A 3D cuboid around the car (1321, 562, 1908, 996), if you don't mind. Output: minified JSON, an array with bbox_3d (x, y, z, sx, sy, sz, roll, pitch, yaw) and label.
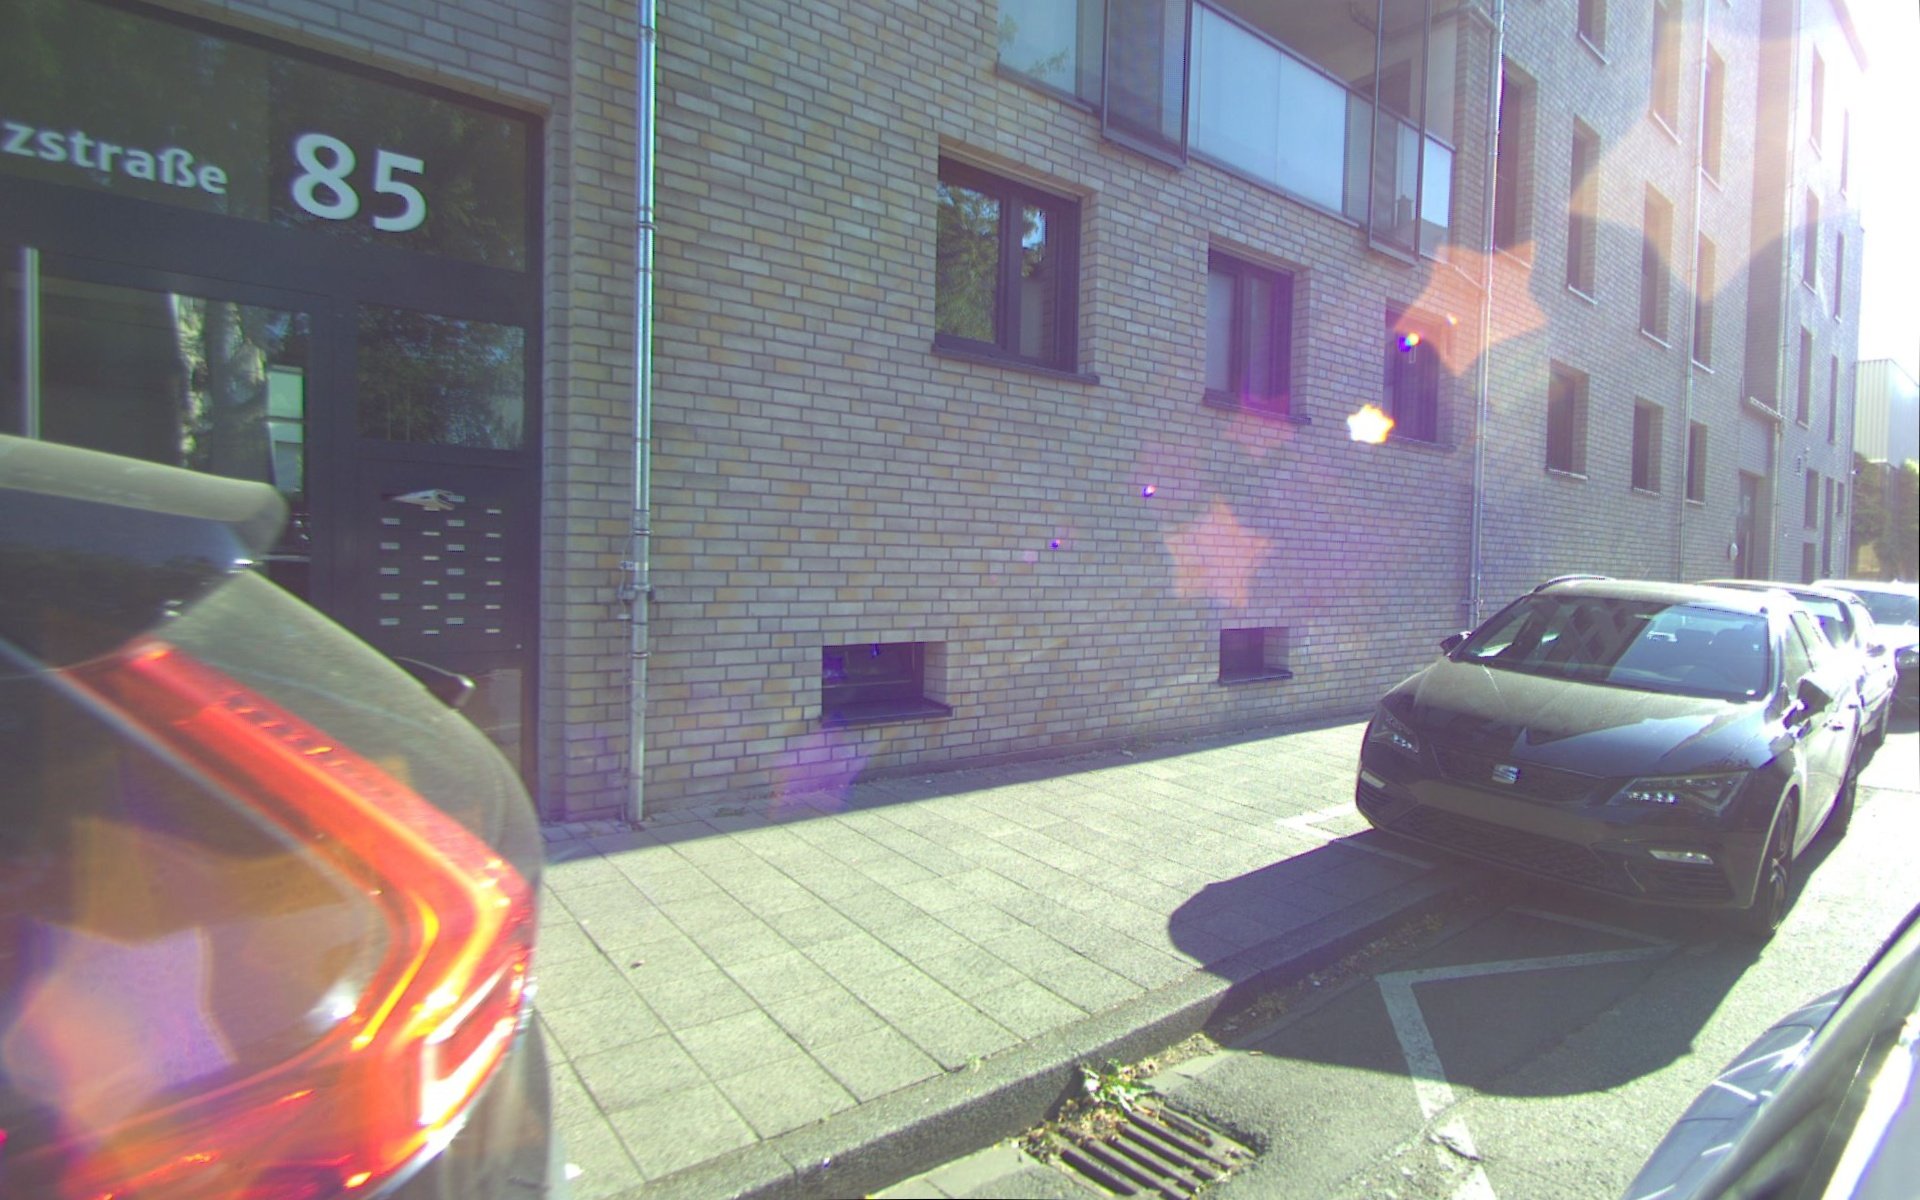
[{"bbox_3d":[4.035,0.595,5.823,4.641,1.485,1.699,-1,5,-43],"label":"car"}]

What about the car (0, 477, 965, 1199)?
[{"bbox_3d":[-2.185,0.632,0.440,4.195,1.484,1.820,-1,3,-41],"label":"car"}]

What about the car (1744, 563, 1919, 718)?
[{"bbox_3d":[11.640,0.404,12.808,4.545,1.547,1.730,-1,6,-41],"label":"car"}]

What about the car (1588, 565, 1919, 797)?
[{"bbox_3d":[7.273,0.525,9.057,4.147,1.534,1.667,-1,5,-43],"label":"car"}]

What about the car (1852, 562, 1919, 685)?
[{"bbox_3d":[15.690,0.330,16.098,4.756,1.755,1.670,-1,3,-42],"label":"car"}]

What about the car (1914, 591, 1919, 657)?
[{"bbox_3d":[19.643,0.286,19.410,4.270,1.611,1.653,0,4,-44],"label":"car"}]
